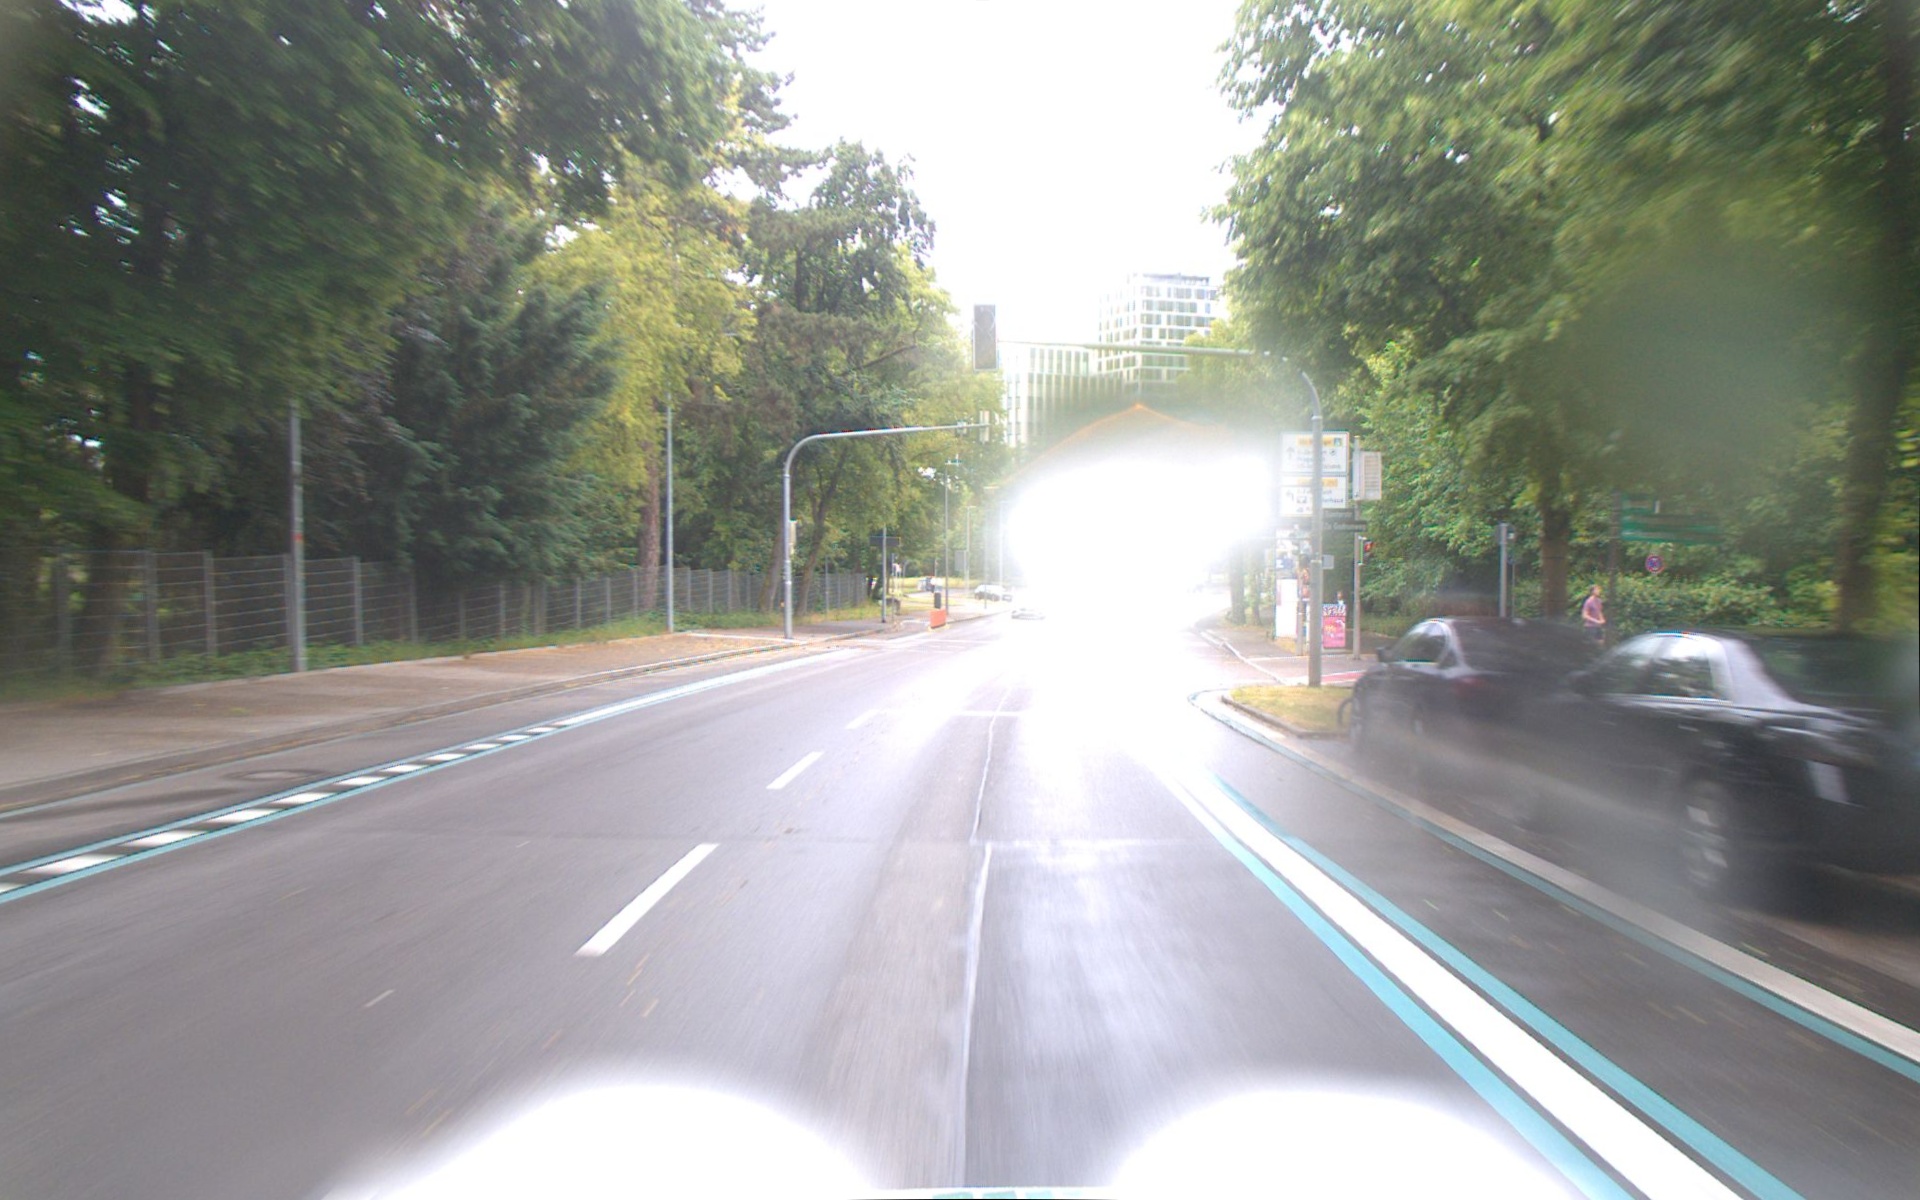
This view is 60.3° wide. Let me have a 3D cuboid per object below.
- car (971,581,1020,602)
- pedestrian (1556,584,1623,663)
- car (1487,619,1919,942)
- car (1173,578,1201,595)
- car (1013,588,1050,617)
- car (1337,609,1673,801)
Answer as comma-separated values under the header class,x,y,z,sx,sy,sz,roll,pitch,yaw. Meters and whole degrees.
class,x,y,z,sx,sy,sz,roll,pitch,yaw
car,3.023,-0.737,141.126,3.923,1.466,1.600,5,3,37
pedestrian,14.343,0.520,37.721,0.881,1.763,1.130,1,0,-38
car,4.866,0.894,10.087,1.664,1.445,4.762,2,0,-1
car,24.092,-1.444,175.574,1.953,1.715,4.000,1,0,22
car,4.095,0.117,94.627,1.804,1.482,4.503,1,1,6
car,4.935,0.859,15.738,1.721,1.465,4.858,2,0,2
